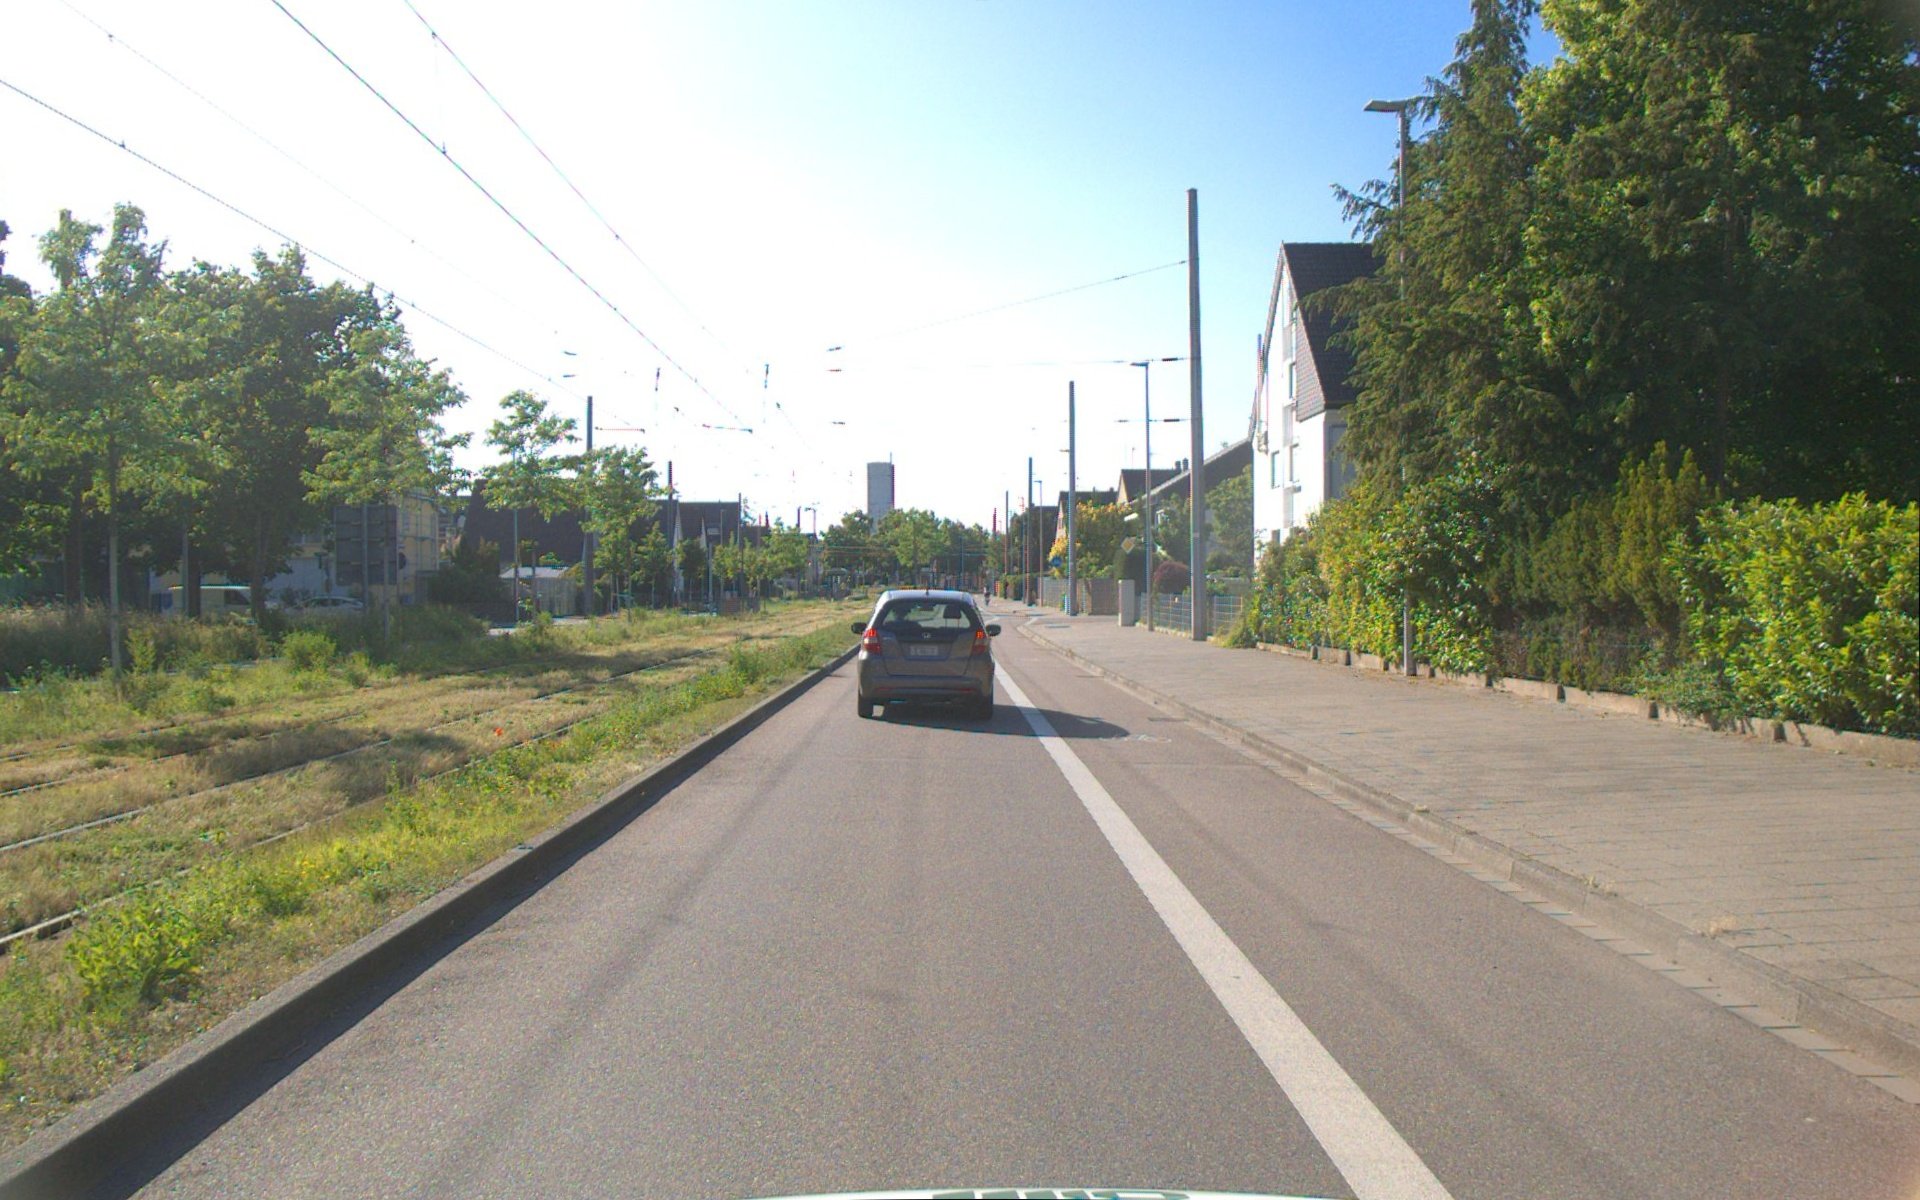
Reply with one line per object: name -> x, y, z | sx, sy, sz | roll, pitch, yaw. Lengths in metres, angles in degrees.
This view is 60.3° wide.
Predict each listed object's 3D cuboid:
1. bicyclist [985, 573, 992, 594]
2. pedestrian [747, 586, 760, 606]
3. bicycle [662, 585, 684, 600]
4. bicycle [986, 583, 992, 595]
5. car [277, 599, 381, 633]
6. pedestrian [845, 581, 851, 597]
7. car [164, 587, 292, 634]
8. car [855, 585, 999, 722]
bicyclist -> 2.330, -1.356, 135.527 | 0.586, 1.731, 0.683 | 1, -1, 0
pedestrian -> -17.512, -0.328, 140.417 | 0.945, 1.669, 1.085 | 0, 0, -1
bicycle -> -26.922, -0.698, 155.161 | 1.951, 1.389, 0.704 | 0, 0, -8
bicycle -> 2.370, -0.871, 135.713 | 0.465, 0.978, 1.657 | 1, 0, 0
car -> -27.990, 0.735, 73.468 | 3.906, 1.428, 1.852 | -1, -2, -2
pedestrian -> -11.263, -1.082, 166.224 | 0.662, 1.562, 0.748 | 0, 0, -5
car -> -31.221, 0.435, 70.609 | 4.592, 1.948, 1.903 | 0, 0, -2
car -> -0.447, 0.628, 20.937 | 1.637, 1.562, 3.485 | 1, 0, -2
